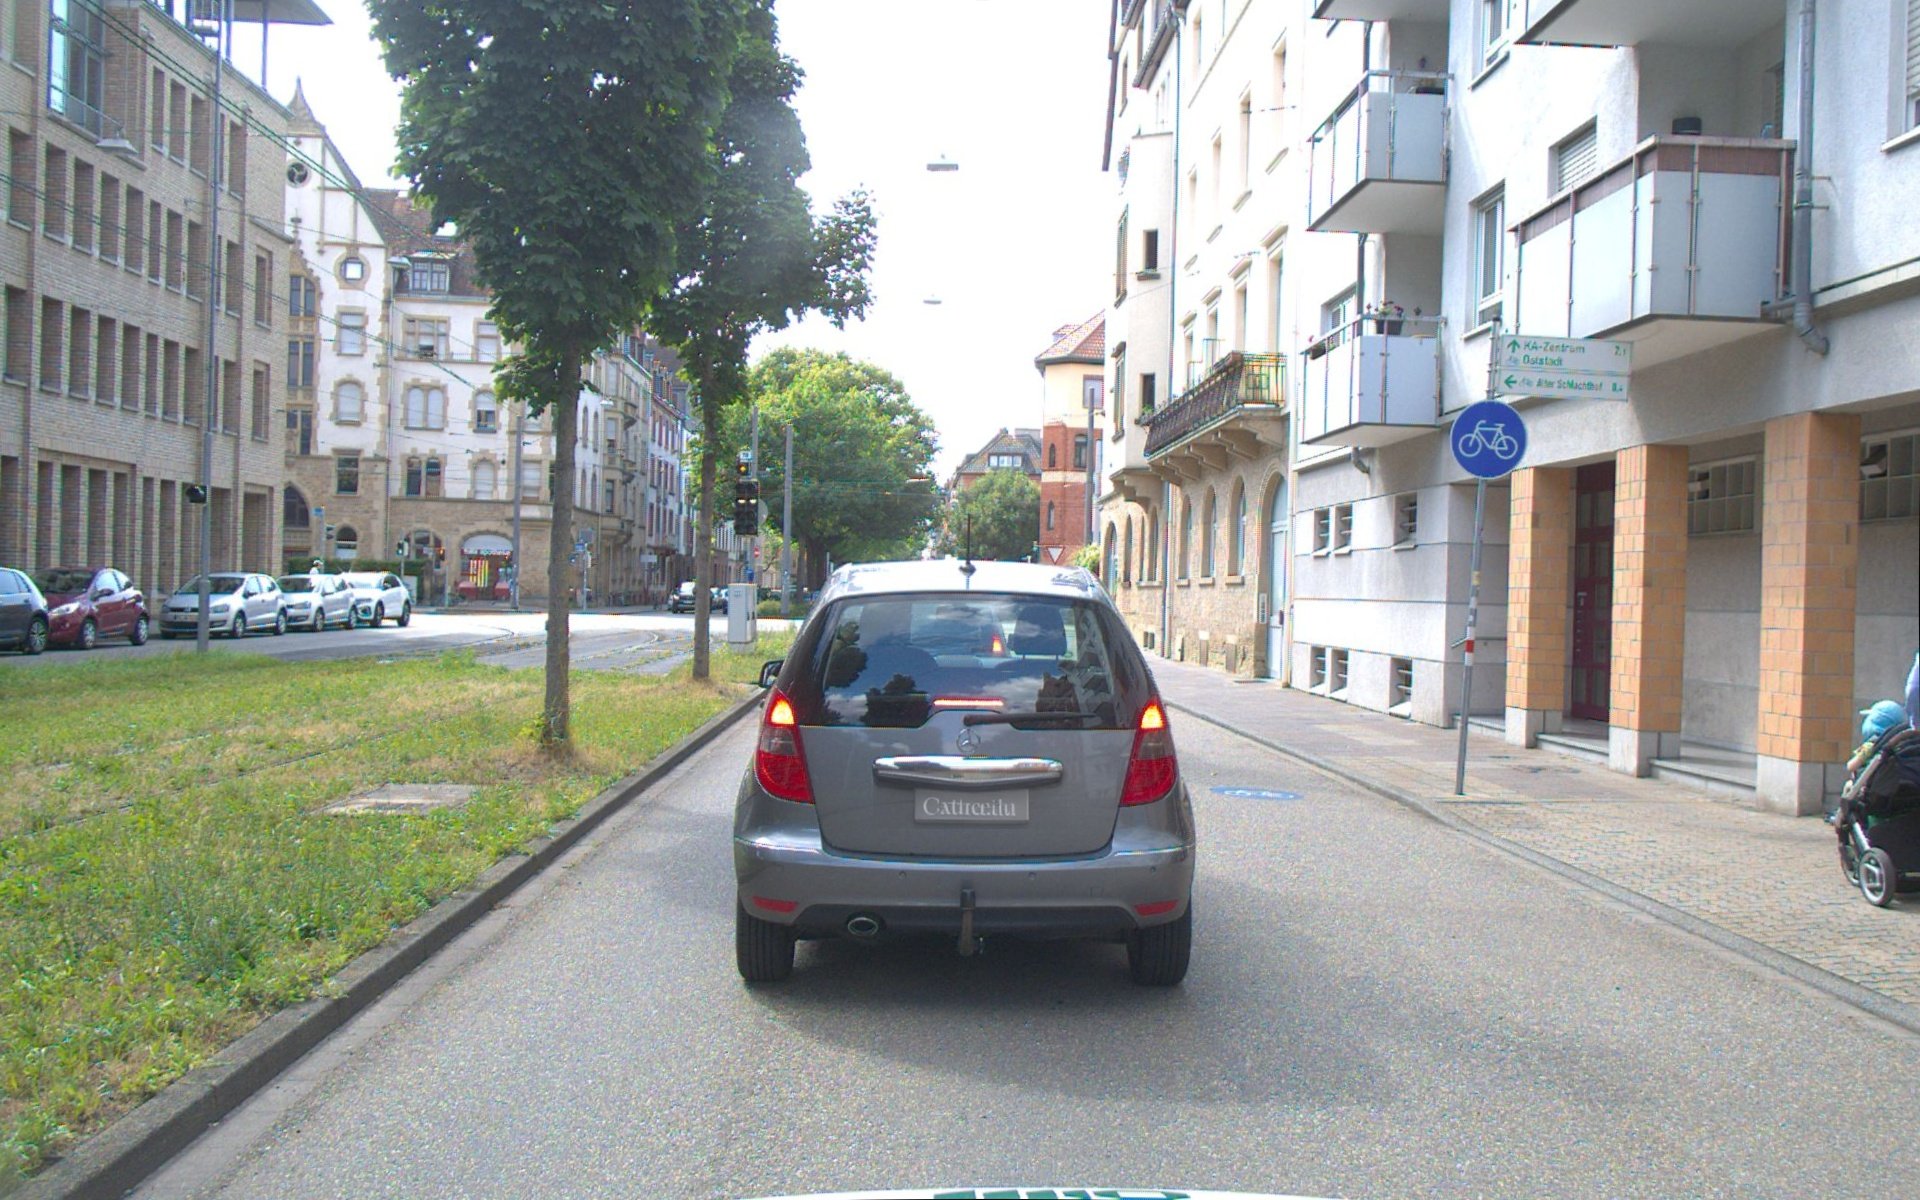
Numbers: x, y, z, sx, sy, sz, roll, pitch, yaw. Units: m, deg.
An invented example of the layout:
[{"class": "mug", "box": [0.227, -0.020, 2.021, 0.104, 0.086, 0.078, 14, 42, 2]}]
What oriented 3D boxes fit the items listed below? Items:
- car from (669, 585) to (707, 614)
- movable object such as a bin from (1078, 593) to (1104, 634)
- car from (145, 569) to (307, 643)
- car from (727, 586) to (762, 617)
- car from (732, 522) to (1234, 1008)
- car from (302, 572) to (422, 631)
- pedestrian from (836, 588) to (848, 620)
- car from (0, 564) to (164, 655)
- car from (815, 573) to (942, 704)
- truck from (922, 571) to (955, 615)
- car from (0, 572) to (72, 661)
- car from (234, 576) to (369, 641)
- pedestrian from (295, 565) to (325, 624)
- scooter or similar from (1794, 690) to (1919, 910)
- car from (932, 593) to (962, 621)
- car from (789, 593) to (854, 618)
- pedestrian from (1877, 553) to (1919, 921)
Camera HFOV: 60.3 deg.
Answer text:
[{"class": "car", "box": [-15.746, -0.046, 95.915, 1.955, 1.646, 3.994, 1, 0, -7]}, {"class": "movable object such as a bin", "box": [4.756, 0.487, 60.057, 0.701, 1.497, 0.980, 1, 0, -10]}, {"class": "car", "box": [-16.598, 0.115, 37.651, 1.813, 1.557, 4.209, 1, 0, -1]}, {"class": "car", "box": [-12.693, 0.066, 97.500, 1.955, 1.758, 3.994, 1, 0, -7]}, {"class": "car", "box": [0.056, 0.563, 7.469, 1.687, 1.633, 3.676, 1, 0, -1]}, {"class": "car", "box": [-17.007, 0.027, 47.256, 1.894, 1.561, 4.257, 1, 0, -1]}, {"class": "pedestrian", "box": [-6.551, 0.230, 91.721, 0.484, 1.755, 0.652, 2, 0, -13]}, {"class": "car", "box": [-16.434, 0.150, 30.727, 1.550, 1.557, 3.549, 1, 0, -1]}, {"class": "car", "box": [-1.118, 0.513, 24.066, 1.687, 1.736, 3.676, 1, 0, -1]}, {"class": "truck", "box": [-1.526, -0.490, 117.377, 2.079, 3.022, 4.001, 1, 0, 2]}, {"class": "car", "box": [-16.196, 0.244, 26.274, 1.894, 1.420, 4.238, 1, 0, -1]}, {"class": "car", "box": [-16.899, 0.200, 42.661, 1.894, 1.557, 4.014, 1, 0, -1]}, {"class": "pedestrian", "box": [-20.516, -0.169, 52.177, 0.751, 1.827, 0.952, 2, 0, -27]}, {"class": "scooter or similar", "box": [4.932, 1.023, 8.709, 0.580, 1.019, 0.905, -3, 0, -1]}, {"class": "car", "box": [-0.794, 0.424, 104.429, 1.716, 1.661, 3.500, 2, 0, 2]}, {"class": "car", "box": [-8.315, 0.317, 98.918, 1.957, 1.362, 3.941, 2, 0, -41]}, {"class": "pedestrian", "box": [4.900, 0.651, 7.785, 0.608, 1.769, 0.877, -2, 0, -1]}]
